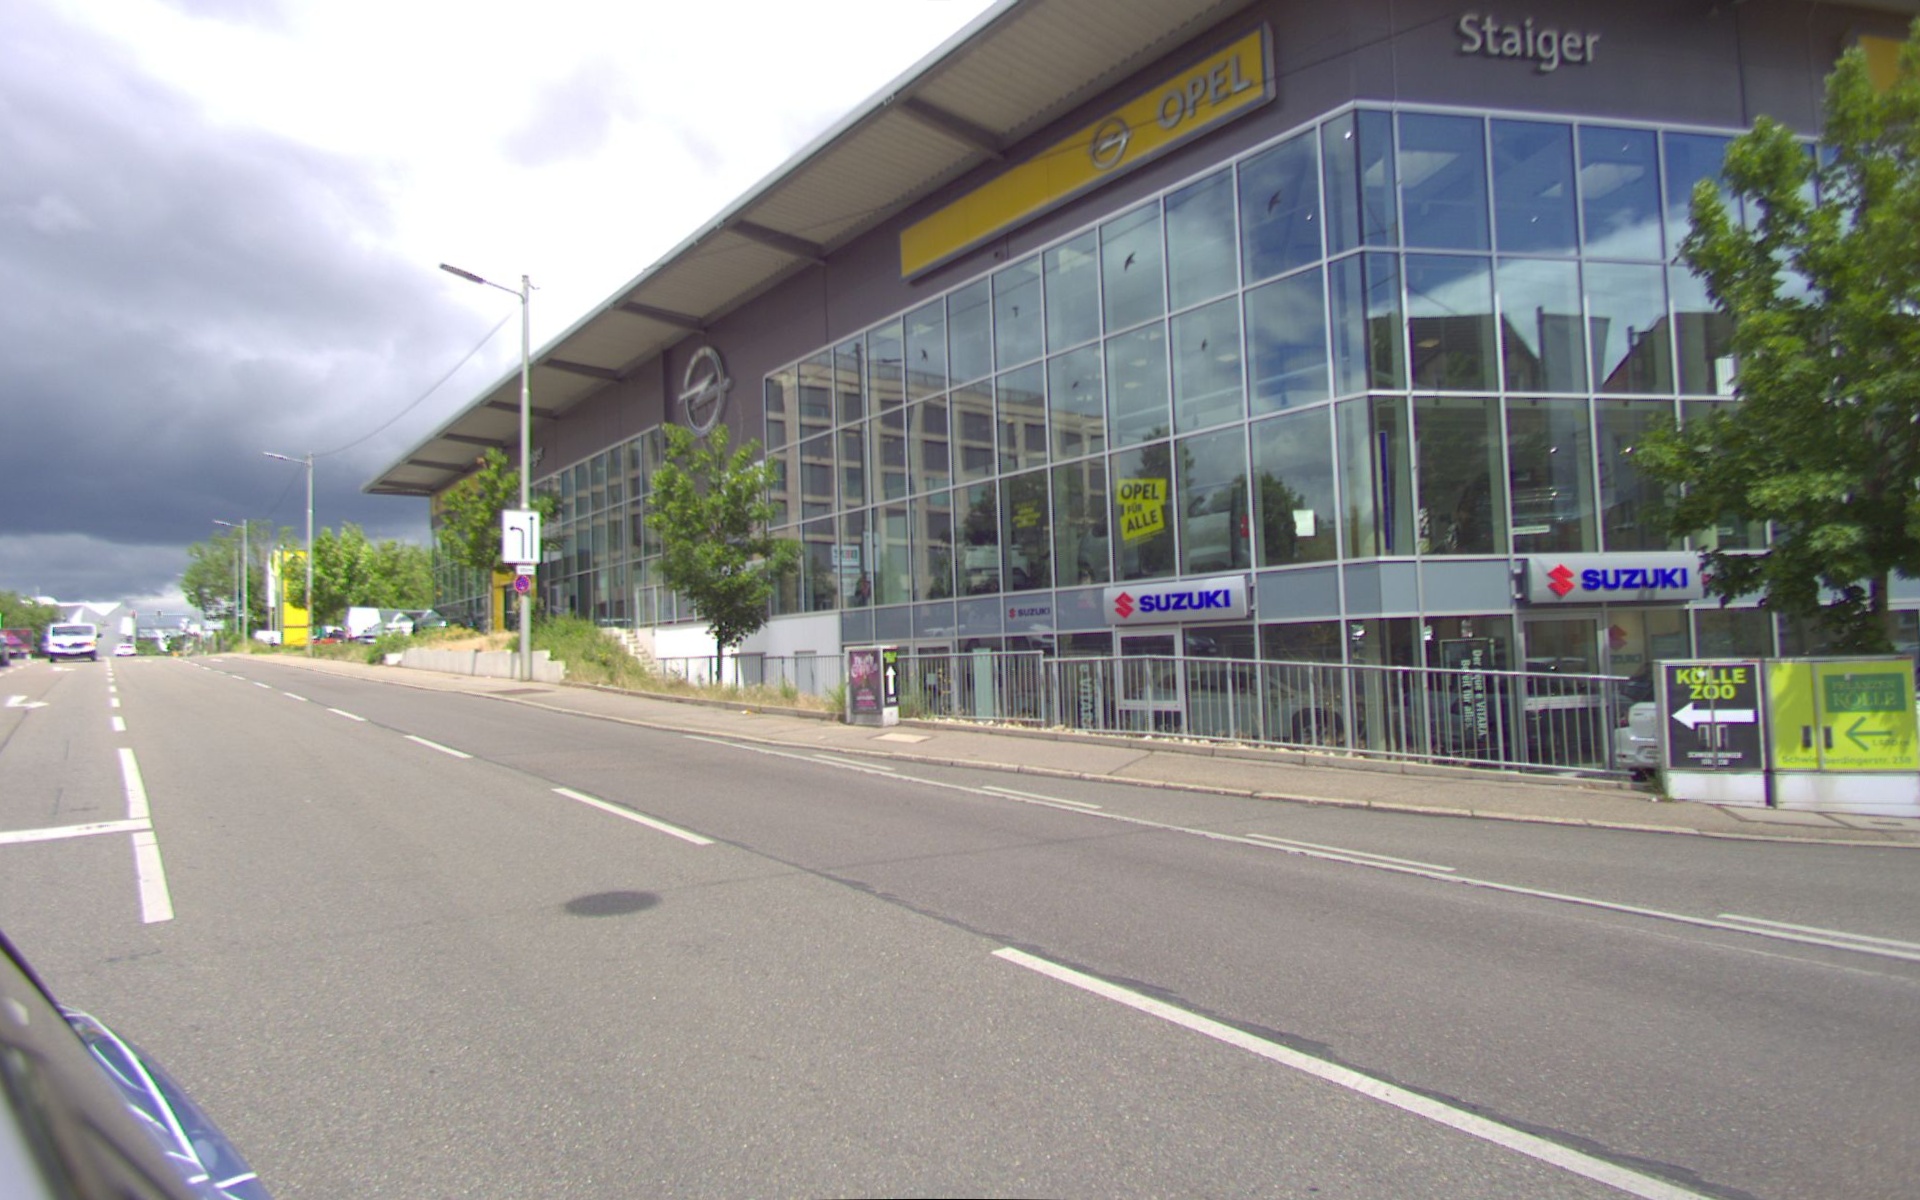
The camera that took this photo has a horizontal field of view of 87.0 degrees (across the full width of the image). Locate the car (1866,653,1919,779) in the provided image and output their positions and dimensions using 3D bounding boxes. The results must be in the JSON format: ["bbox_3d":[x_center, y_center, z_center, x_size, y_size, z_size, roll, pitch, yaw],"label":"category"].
[{"bbox_3d":[13.847,1.444,12.885,3.729,1.535,1.521,0,-1,-13],"label":"car"}]

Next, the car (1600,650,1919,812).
[{"bbox_3d":[9.873,1.457,11.946,3.627,1.587,1.759,0,0,-8],"label":"car"}]

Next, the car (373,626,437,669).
[{"bbox_3d":[-24.634,2.052,45.017,1.965,1.807,4.013,1,-2,-21],"label":"car"}]

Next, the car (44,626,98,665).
[{"bbox_3d":[-45.291,2.290,51.627,1.968,1.844,4.554,0,-1,-40],"label":"car"}]

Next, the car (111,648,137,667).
[{"bbox_3d":[-85.037,5.844,102.937,1.969,1.754,4.554,0,-1,-41],"label":"car"}]

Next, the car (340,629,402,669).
[{"bbox_3d":[-28.385,2.332,48.872,1.965,1.807,4.013,0,-2,-21],"label":"car"}]

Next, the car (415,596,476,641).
[{"bbox_3d":[-21.028,0.759,41.468,1.965,1.741,4.013,1,-2,-24],"label":"car"}]

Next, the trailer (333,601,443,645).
[{"bbox_3d":[-31.592,1.280,56.007,5.000,2.367,2.002,1,-2,-43],"label":"trailer"}]
